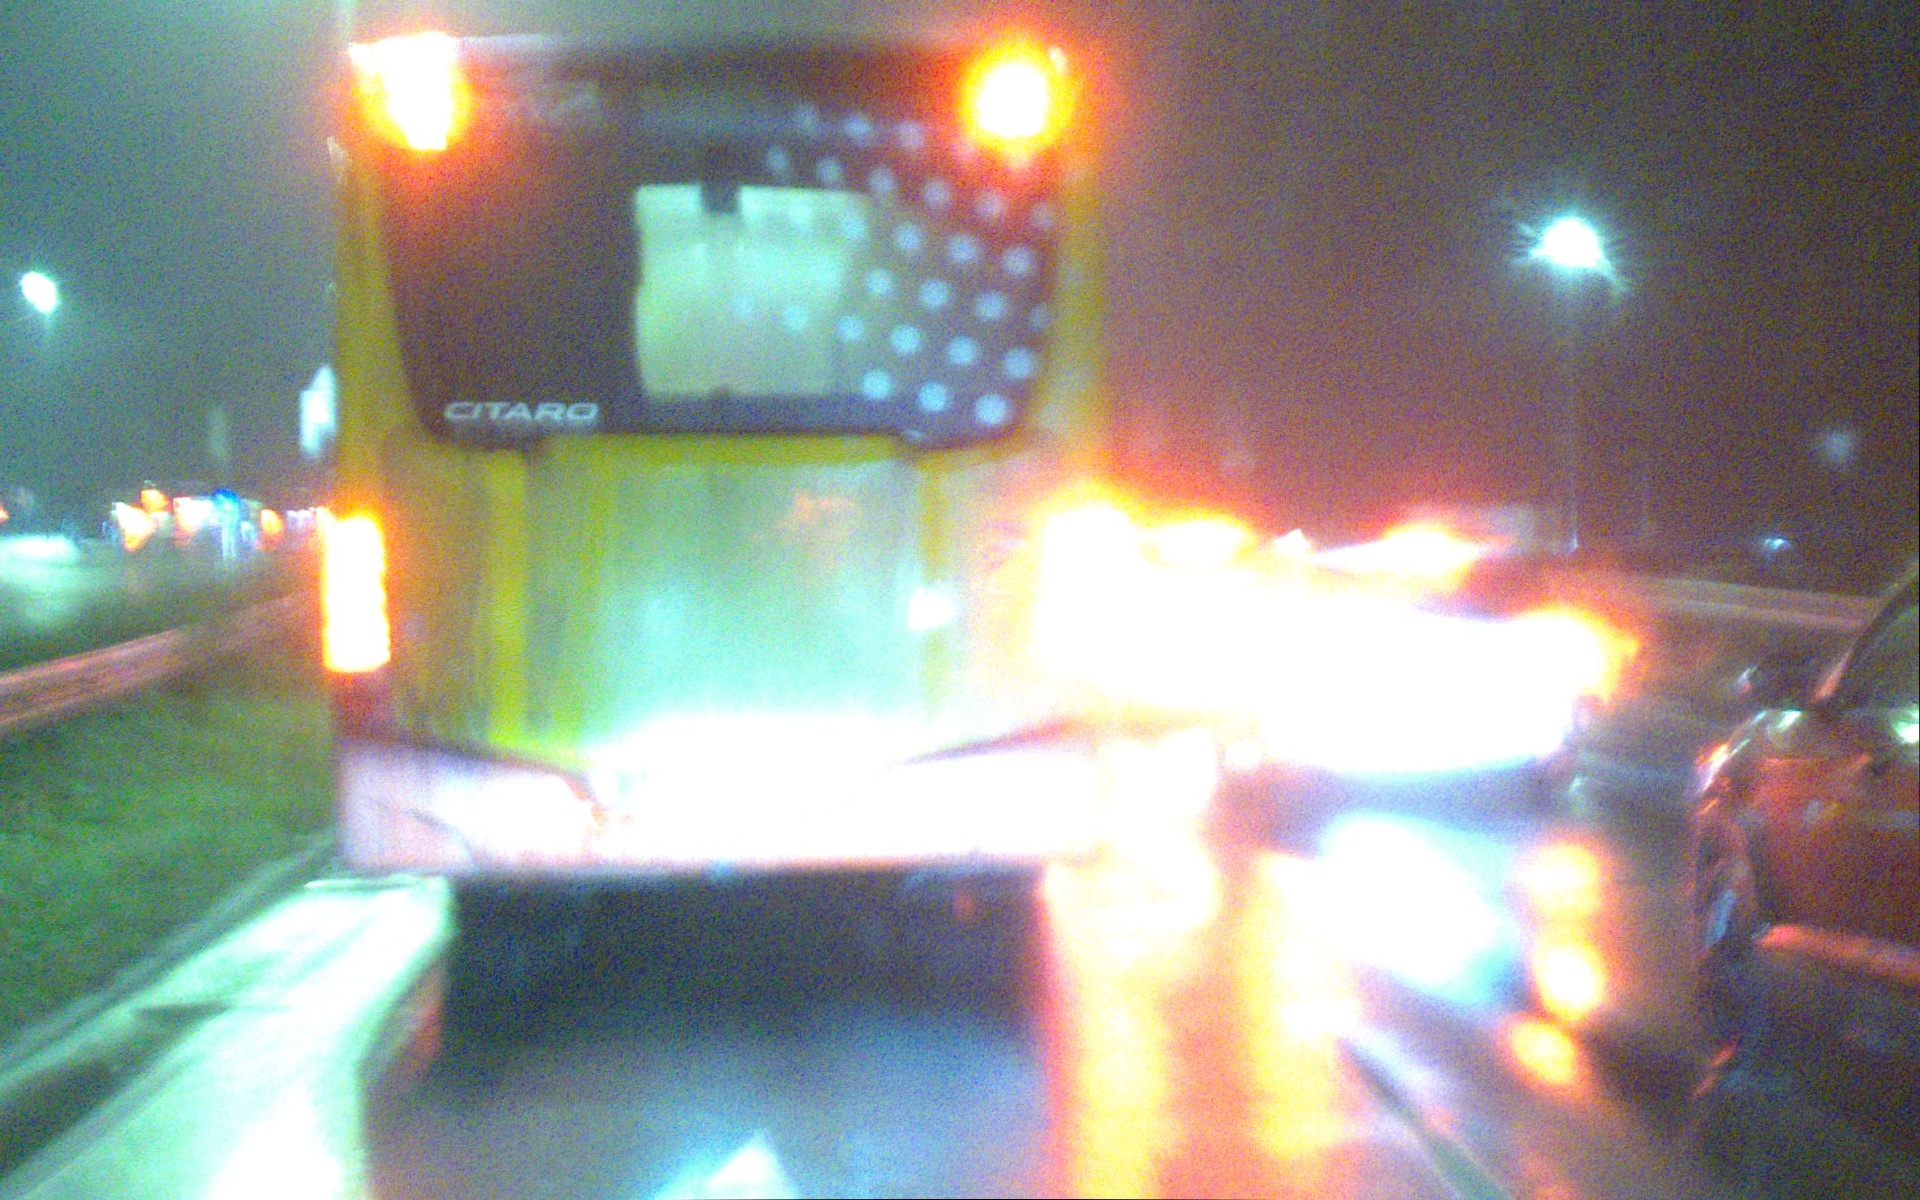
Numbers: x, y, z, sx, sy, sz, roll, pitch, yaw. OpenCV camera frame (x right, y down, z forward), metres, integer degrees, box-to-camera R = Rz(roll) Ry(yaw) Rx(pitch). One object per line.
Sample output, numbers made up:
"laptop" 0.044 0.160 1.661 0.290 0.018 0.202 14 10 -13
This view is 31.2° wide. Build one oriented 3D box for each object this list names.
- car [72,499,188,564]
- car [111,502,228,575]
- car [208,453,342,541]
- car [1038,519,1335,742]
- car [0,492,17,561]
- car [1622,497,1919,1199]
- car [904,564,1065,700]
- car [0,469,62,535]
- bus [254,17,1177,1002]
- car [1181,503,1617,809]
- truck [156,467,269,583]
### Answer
"car" -21.836 -1.815 90.391 1.751 1.625 3.623 2 0 -35
"car" -22.144 -1.729 96.219 1.993 2.007 4.000 0 1 -32
"car" -16.537 -2.463 82.858 1.993 2.007 4.000 2 0 -29
"car" 1.661 0.184 26.376 1.819 1.585 3.777 0 1 -3
"car" -29.725 -2.182 101.944 2.211 2.007 4.000 0 1 -34
"car" 2.875 0.572 7.901 1.739 1.559 3.777 1 1 -3
"car" 0.258 0.357 42.350 1.779 1.538 3.875 1 1 -2
"car" -30.028 -3.126 110.427 2.120 2.007 4.001 2 0 -13
"bus" -0.904 -0.349 15.066 2.815 3.013 8.688 1 1 -2
"car" 2.406 0.255 19.765 1.819 1.585 3.777 0 1 -3
"truck" -17.058 -1.755 78.301 1.855 2.384 4.781 -2 4 -20
